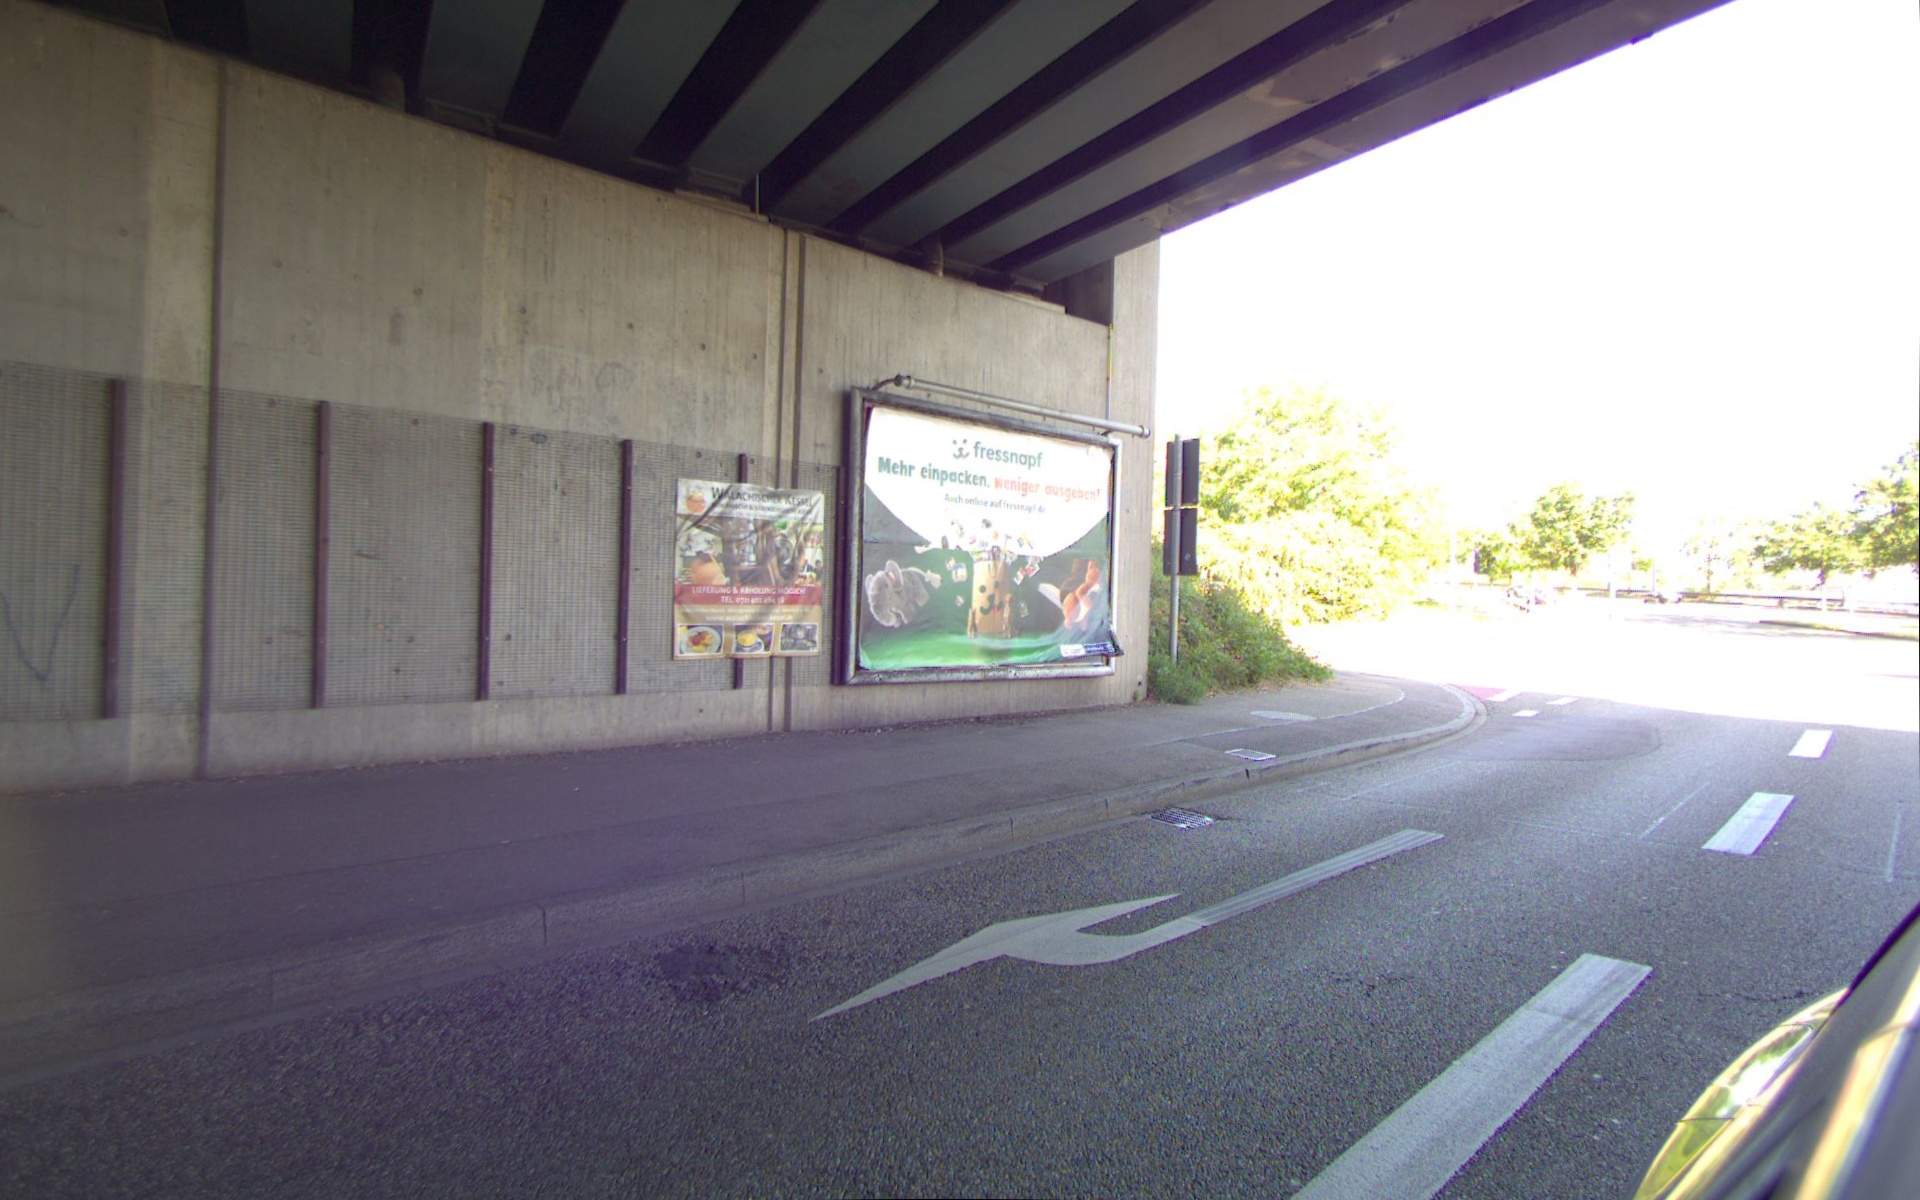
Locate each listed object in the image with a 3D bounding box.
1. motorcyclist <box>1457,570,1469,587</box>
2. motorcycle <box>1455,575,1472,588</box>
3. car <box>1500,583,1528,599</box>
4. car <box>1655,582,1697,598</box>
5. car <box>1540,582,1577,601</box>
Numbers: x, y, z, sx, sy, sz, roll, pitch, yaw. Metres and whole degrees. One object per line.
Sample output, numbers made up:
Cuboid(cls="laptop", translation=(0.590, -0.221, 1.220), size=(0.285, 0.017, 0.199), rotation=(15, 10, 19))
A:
Cuboid(cls="motorcyclist", translation=(66.801, -2.896, 134.419), size=(1.091, 2.269, 1.179), rotation=(0, 0, 10))
Cuboid(cls="motorcycle", translation=(66.769, -2.388, 134.213), size=(1.091, 1.681, 3.146), rotation=(0, 0, 10))
Cuboid(cls="car", translation=(56.380, -0.895, 103.088), size=(1.716, 1.438, 4.293), rotation=(2, 0, 18))
Cuboid(cls="car", translation=(61.465, -0.879, 86.892), size=(1.725, 1.297, 4.158), rotation=(3, 2, 18))
Cuboid(cls="car", translation=(49.923, -0.680, 84.497), size=(1.716, 1.438, 4.293), rotation=(2, 0, 18))
